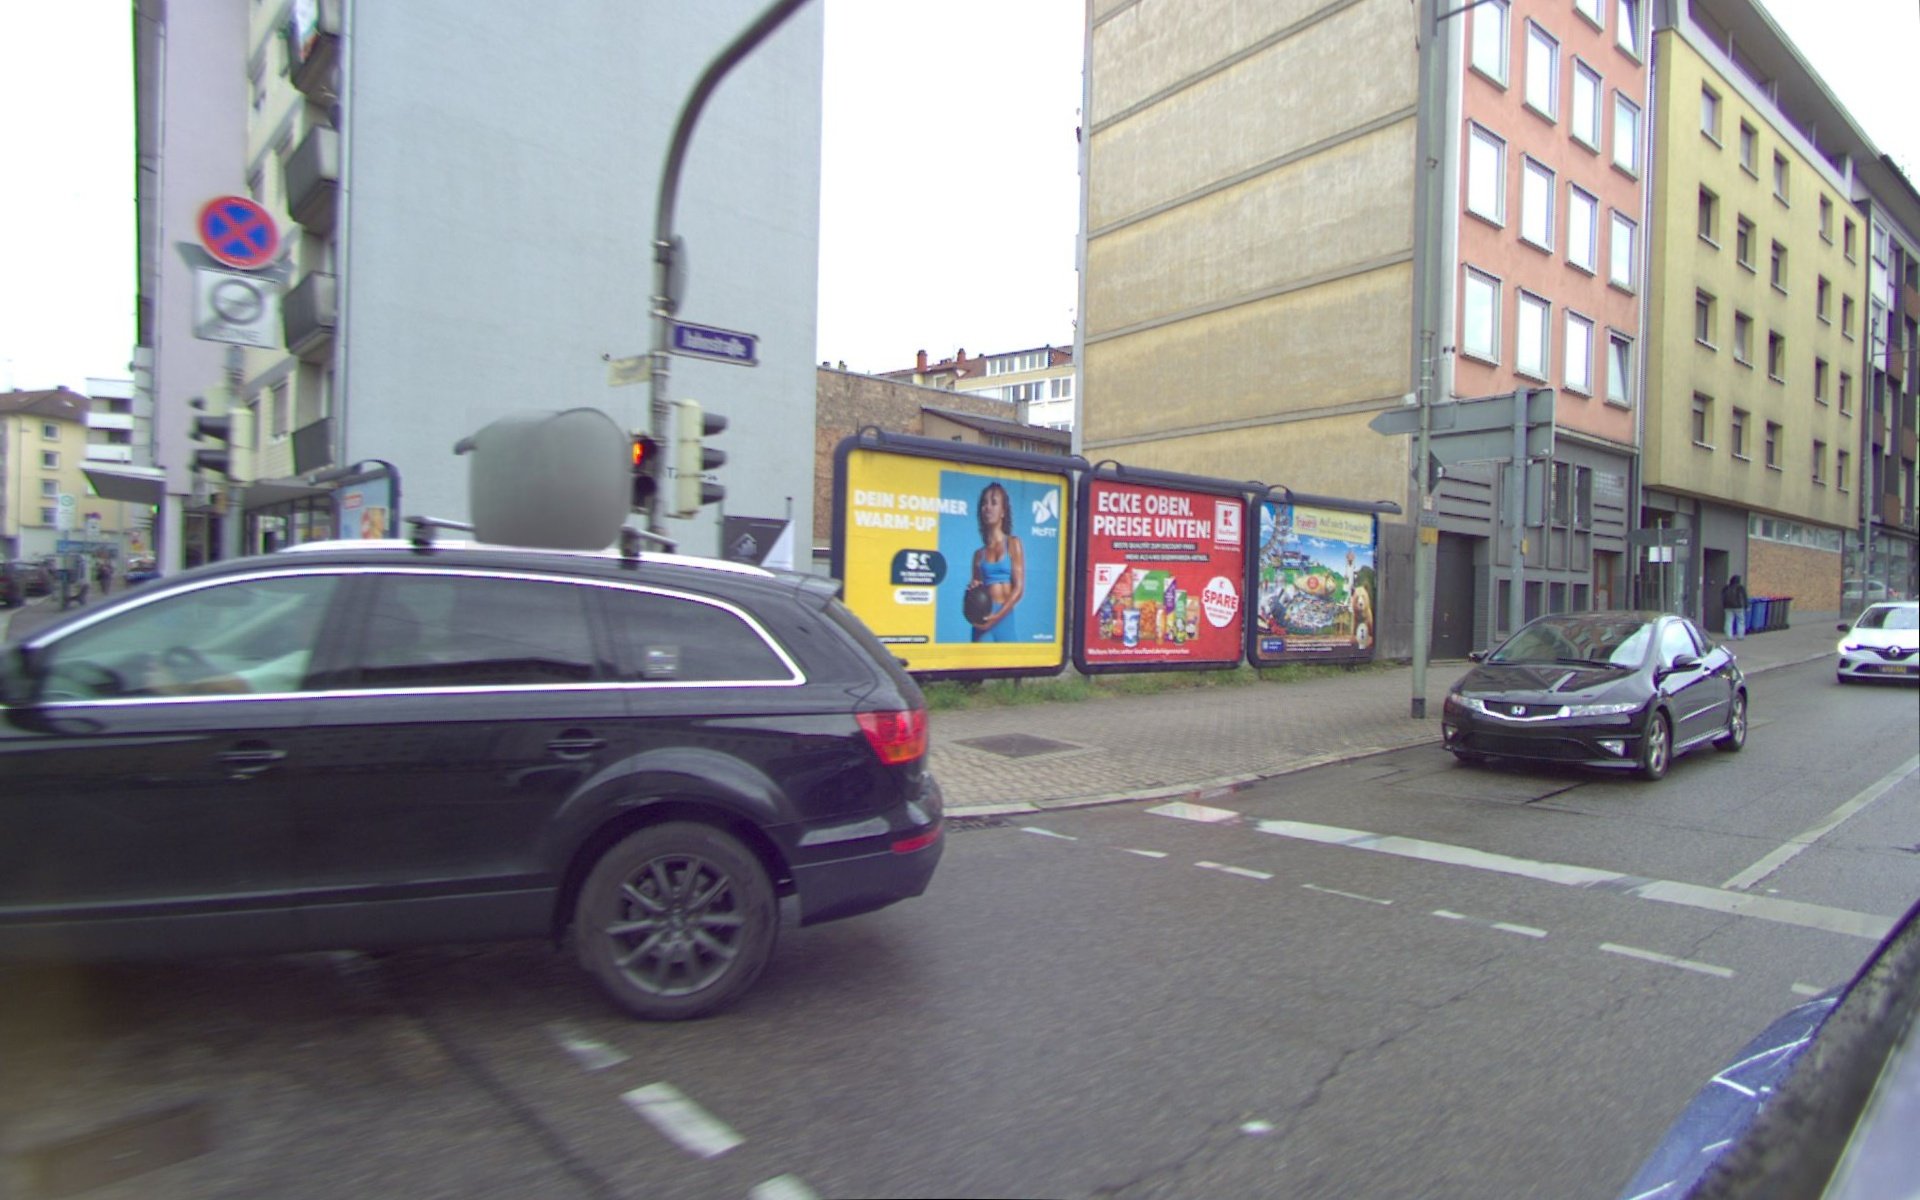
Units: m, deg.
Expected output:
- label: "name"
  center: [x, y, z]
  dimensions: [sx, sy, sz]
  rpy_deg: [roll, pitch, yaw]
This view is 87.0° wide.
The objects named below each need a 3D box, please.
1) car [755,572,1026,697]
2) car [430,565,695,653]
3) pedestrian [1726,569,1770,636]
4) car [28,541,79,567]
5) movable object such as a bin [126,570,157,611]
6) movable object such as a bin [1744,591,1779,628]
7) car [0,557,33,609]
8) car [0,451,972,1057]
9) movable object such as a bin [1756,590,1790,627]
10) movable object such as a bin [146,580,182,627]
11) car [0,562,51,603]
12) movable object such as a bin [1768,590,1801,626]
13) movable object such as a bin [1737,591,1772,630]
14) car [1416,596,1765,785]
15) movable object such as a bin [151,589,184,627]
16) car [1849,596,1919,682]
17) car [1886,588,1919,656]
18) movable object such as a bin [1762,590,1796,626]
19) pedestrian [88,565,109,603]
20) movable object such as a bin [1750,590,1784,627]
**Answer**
- label: "car"
  center: [-1.087, 0.405, 14.810]
  dimensions: [3.653, 1.571, 2.055]
  rpy_deg: [2, 1, 44]
- label: "car"
  center: [-7.370, 0.133, 18.968]
  dimensions: [4.254, 1.458, 1.878]
  rpy_deg: [0, 1, -40]
- label: "pedestrian"
  center: [21.537, 0.063, 27.657]
  dimensions: [1.075, 1.810, 0.675]
  rpy_deg: [0, 0, -36]
- label: "car"
  center: [-53.252, -2.713, 59.525]
  dimensions: [1.964, 1.401, 3.998]
  rpy_deg: [0, 3, -39]
- label: "movable object such as a bin"
  center: [-23.468, -0.258, 29.007]
  dimensions: [0.685, 1.152, 0.640]
  rpy_deg: [1, -1, -40]
- label: "movable object such as a bin"
  center: [23.942, 0.272, 30.242]
  dimensions: [0.656, 1.090, 0.682]
  rpy_deg: [-1, 1, -39]
- label: "car"
  center: [-31.760, -0.589, 32.941]
  dimensions: [1.954, 1.638, 4.125]
  rpy_deg: [0, 1, -37]
- label: "car"
  center: [-2.506, 0.501, 4.287]
  dimensions: [4.798, 1.893, 2.031]
  rpy_deg: [1, -1, -10]
- label: "movable object such as a bin"
  center: [24.979, 0.247, 31.094]
  dimensions: [0.656, 1.090, 0.682]
  rpy_deg: [-1, 1, -39]
- label: "movable object such as a bin"
  center: [-19.855, 0.099, 25.239]
  dimensions: [0.685, 1.152, 0.640]
  rpy_deg: [1, -1, -40]
- label: "car"
  center: [-39.164, -0.733, 41.937]
  dimensions: [1.955, 1.638, 4.124]
  rpy_deg: [0, 1, -39]
- label: "movable object such as a bin"
  center: [26.024, 0.236, 31.950]
  dimensions: [0.656, 1.090, 0.682]
  rpy_deg: [-1, 1, -39]
- label: "movable object such as a bin"
  center: [23.402, 0.302, 29.814]
  dimensions: [0.656, 1.090, 0.682]
  rpy_deg: [-1, 1, -39]
- label: "car"
  center: [6.394, 0.739, 10.102]
  dimensions: [3.984, 1.516, 1.787]
  rpy_deg: [0, -1, -40]
- label: "movable object such as a bin"
  center: [-19.390, 0.192, 24.758]
  dimensions: [0.611, 0.919, 0.533]
  rpy_deg: [1, -1, -40]
- label: "car"
  center: [17.540, 0.646, 18.282]
  dimensions: [3.930, 1.421, 1.679]
  rpy_deg: [-1, 0, -40]
- label: "car"
  center: [23.462, 0.488, 23.587]
  dimensions: [5.200, 1.404, 2.039]
  rpy_deg: [-2, 3, -39]
- label: "movable object such as a bin"
  center: [25.505, 0.248, 31.518]
  dimensions: [0.656, 1.090, 0.682]
  rpy_deg: [-1, 1, -39]
- label: "pedestrian"
  center: [-34.867, -0.643, 40.981]
  dimensions: [0.615, 1.522, 0.705]
  rpy_deg: [1, -1, -39]
- label: "movable object such as a bin"
  center: [24.461, 0.254, 30.671]
  dimensions: [0.656, 1.090, 0.682]
  rpy_deg: [-1, 1, -39]
